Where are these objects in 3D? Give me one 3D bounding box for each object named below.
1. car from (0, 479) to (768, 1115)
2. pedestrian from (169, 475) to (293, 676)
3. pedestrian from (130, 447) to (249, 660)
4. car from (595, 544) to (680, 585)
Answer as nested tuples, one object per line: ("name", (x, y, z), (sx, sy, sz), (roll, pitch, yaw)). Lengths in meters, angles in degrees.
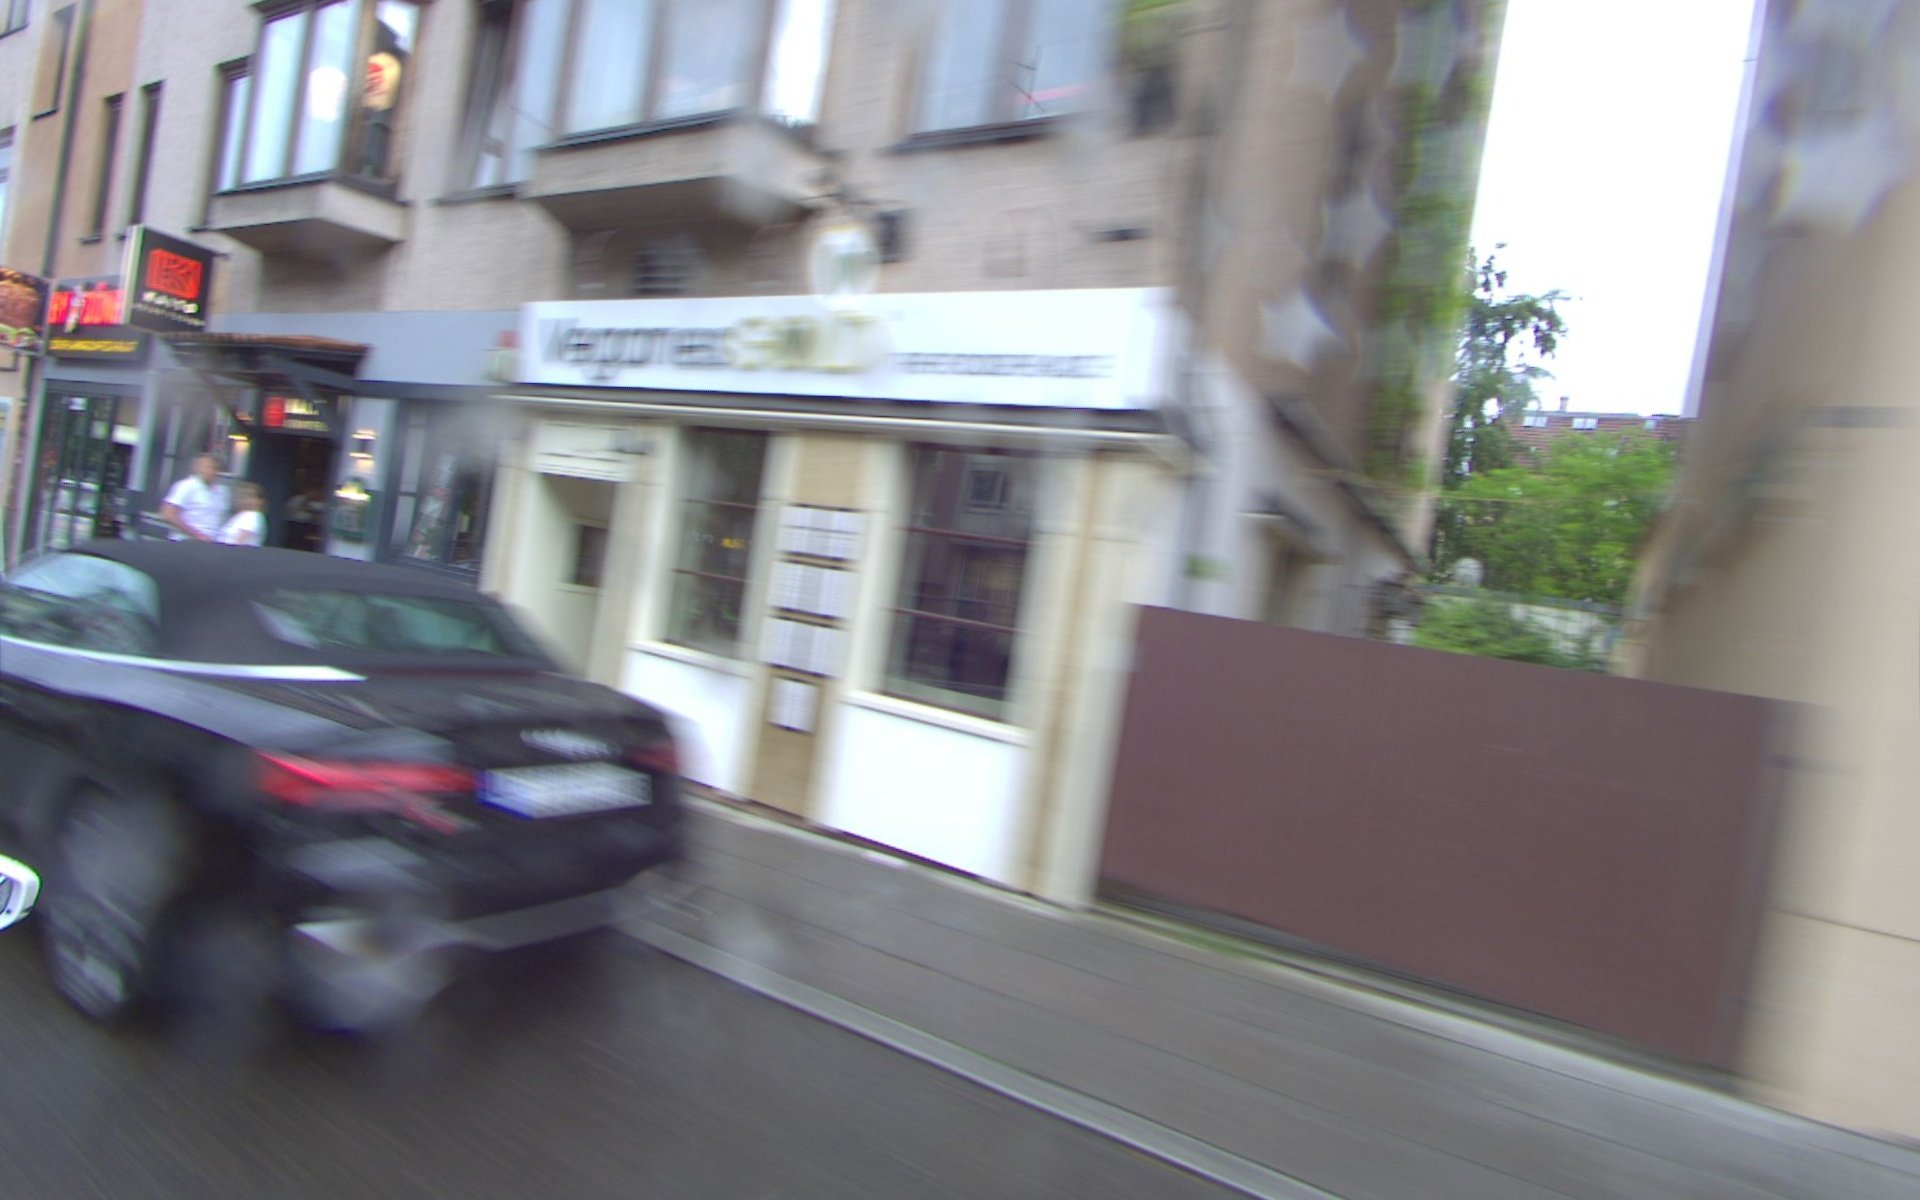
("car", (-3.120, 0.371, 4.325), (4.174, 1.480, 1.910), (7, 0, 31))
("pedestrian", (-6.521, -0.207, 9.010), (0.585, 1.701, 0.546), (7, 1, 24))
("pedestrian", (-7.130, -0.411, 9.315), (0.546, 1.882, 0.530), (7, 1, 24))
("car", (-15.834, -1.720, 49.501), (1.646, 1.473, 3.666), (7, 0, 32))
